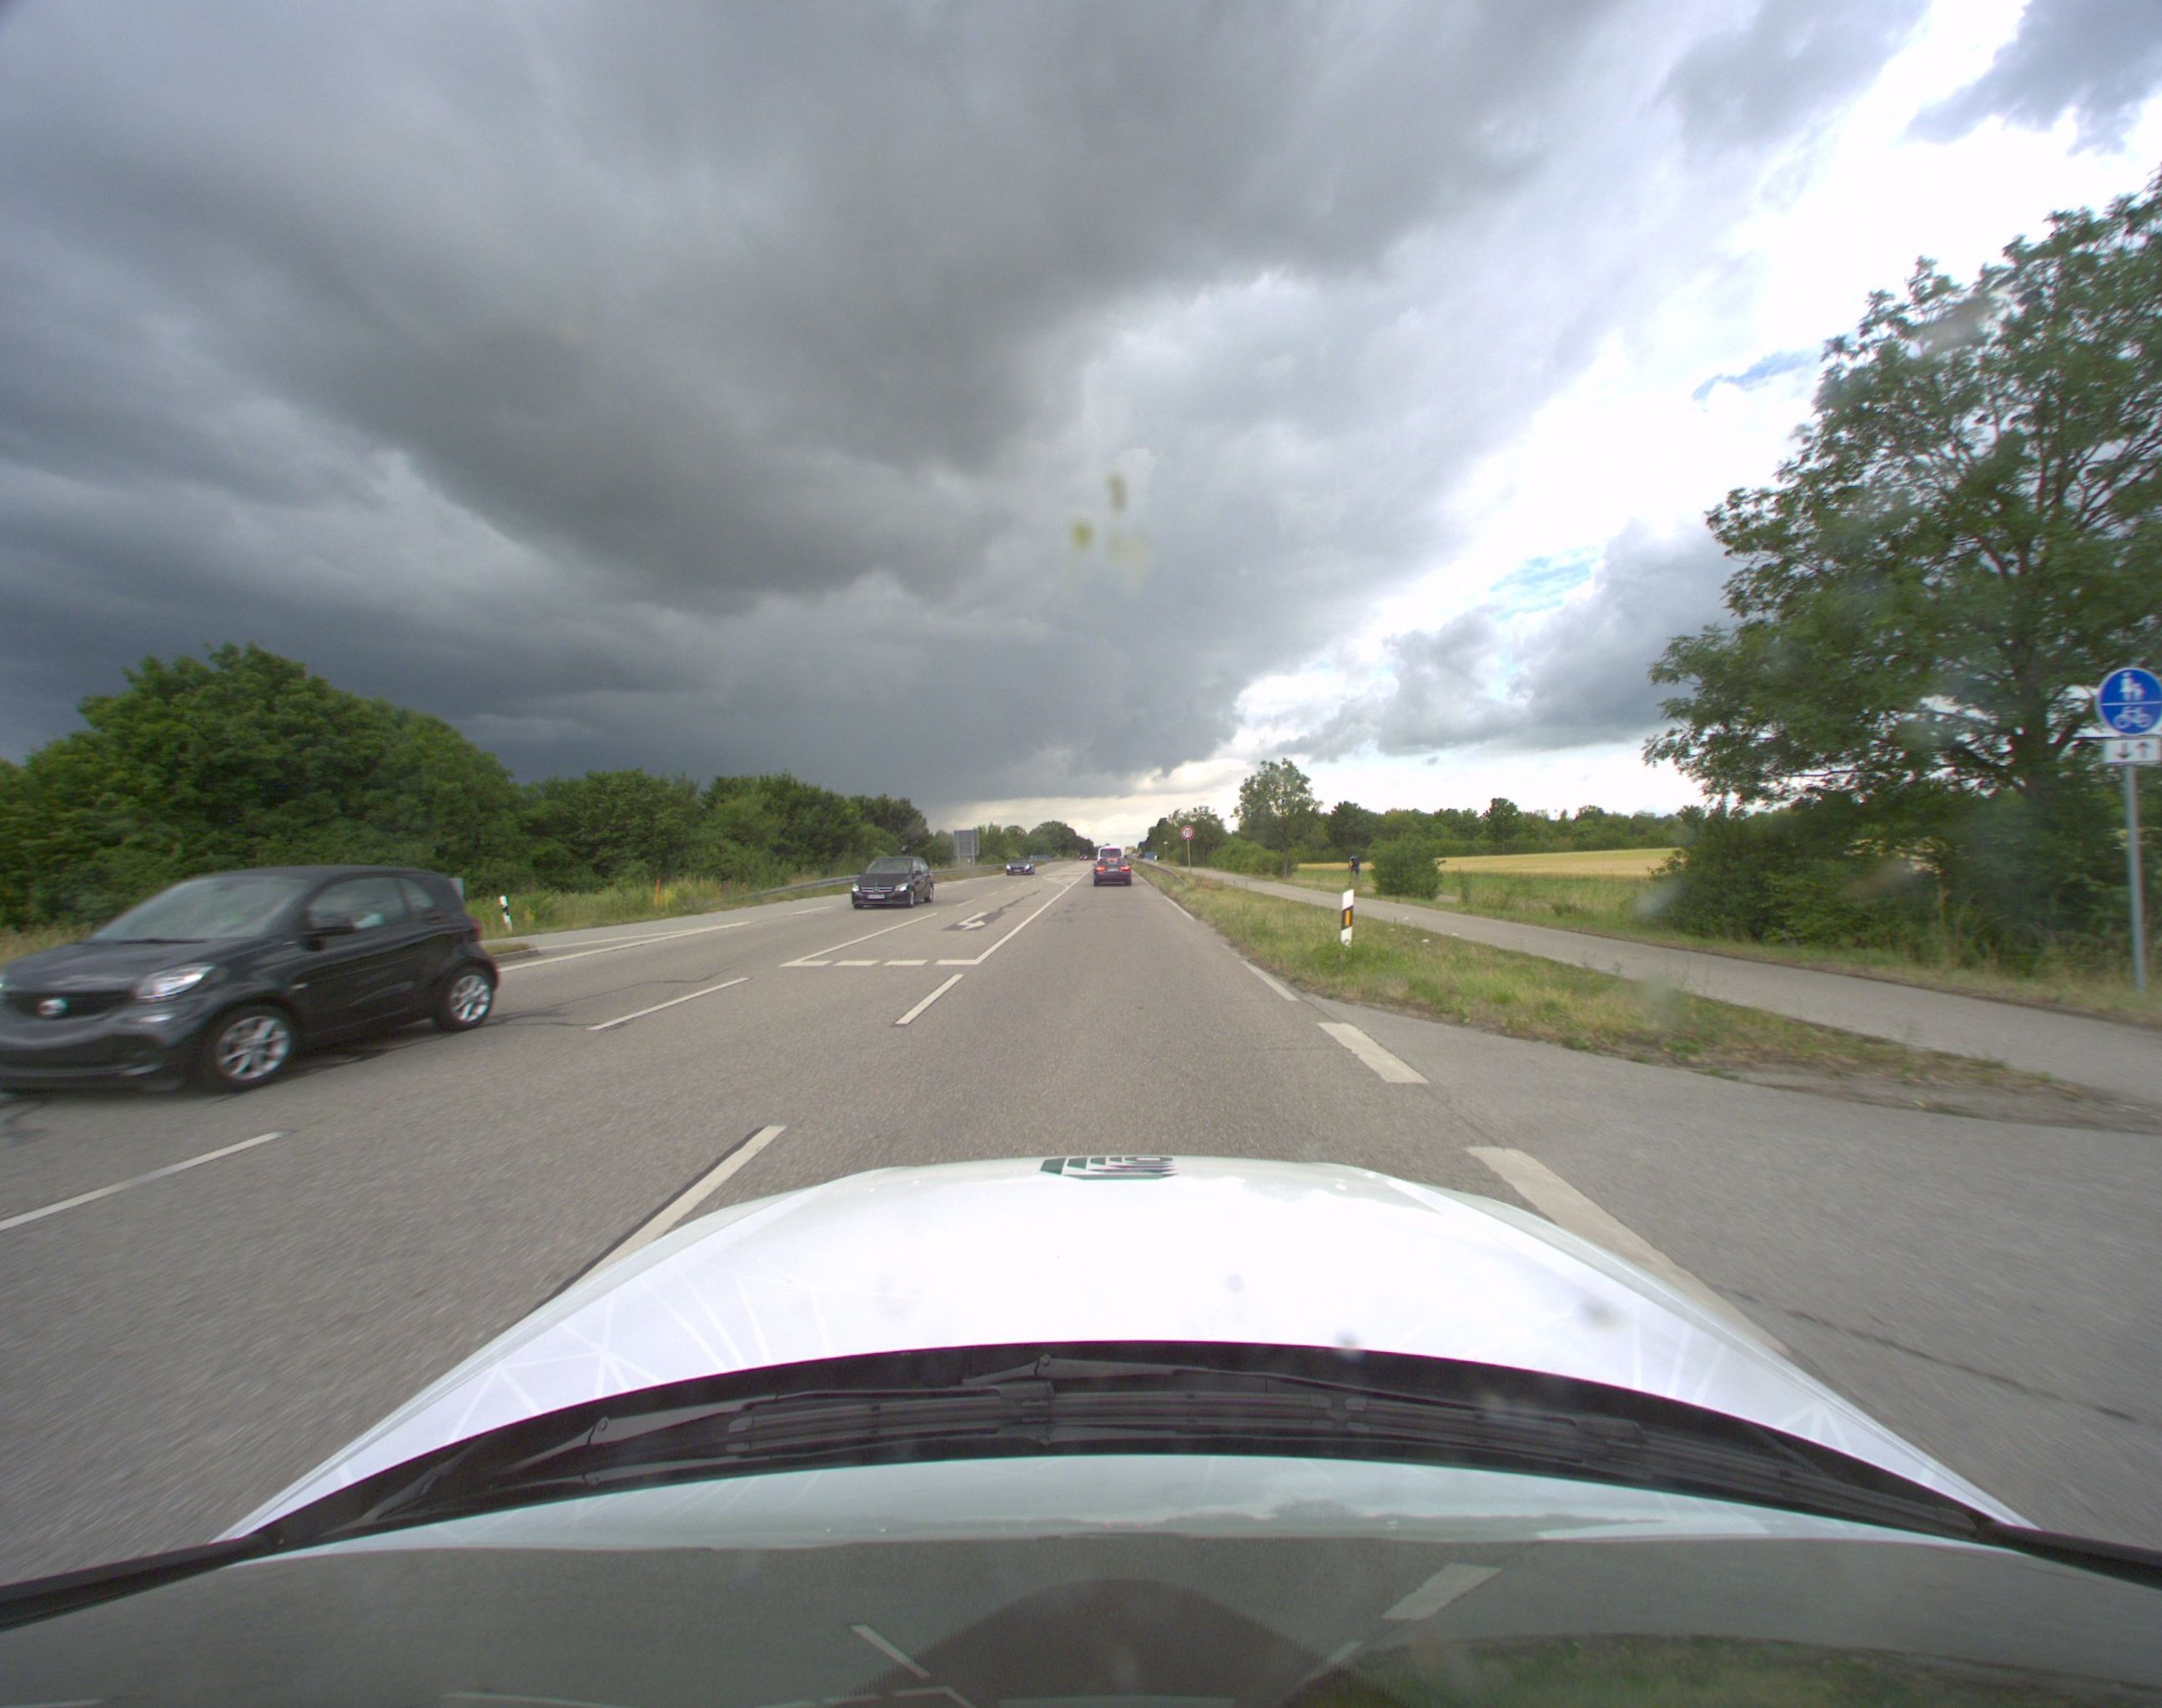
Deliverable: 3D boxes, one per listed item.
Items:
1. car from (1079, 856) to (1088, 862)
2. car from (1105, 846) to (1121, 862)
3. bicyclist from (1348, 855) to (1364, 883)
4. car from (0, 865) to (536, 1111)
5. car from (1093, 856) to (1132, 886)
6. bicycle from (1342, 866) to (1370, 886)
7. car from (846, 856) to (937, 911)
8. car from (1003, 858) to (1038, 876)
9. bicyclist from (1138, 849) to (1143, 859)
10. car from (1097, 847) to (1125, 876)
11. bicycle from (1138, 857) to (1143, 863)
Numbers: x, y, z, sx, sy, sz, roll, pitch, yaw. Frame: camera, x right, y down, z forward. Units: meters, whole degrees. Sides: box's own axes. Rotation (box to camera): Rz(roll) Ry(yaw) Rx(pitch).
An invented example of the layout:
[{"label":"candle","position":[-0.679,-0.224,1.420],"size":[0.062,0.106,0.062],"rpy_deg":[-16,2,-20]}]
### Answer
[{"label":"car","position":[0.665,1.153,192.960],"size":[1.854,1.376,4.003],"rpy_deg":[1,-1,3]},{"label":"car","position":[4.951,-0.024,125.326],"size":[2.437,2.504,5.045],"rpy_deg":[-1,0,3]},{"label":"bicyclist","position":[15.625,0.833,46.327],"size":[0.653,1.581,0.744],"rpy_deg":[-1,-1,1]},{"label":"car","position":[-6.413,0.867,6.685],"size":[1.655,1.484,3.169],"rpy_deg":[-1,0,1]},{"label":"car","position":[1.544,0.807,39.936],"size":[1.779,1.424,4.002],"rpy_deg":[-1,-1,2]},{"label":"bicycle","position":[15.628,1.238,46.351],"size":[0.653,1.138,2.831],"rpy_deg":[-1,-1,2]},{"label":"car","position":[-5.851,0.869,25.627],"size":[1.735,1.530,4.200],"rpy_deg":[-1,0,1]},{"label":"car","position":[-4.582,0.945,62.504],"size":[2.156,1.285,4.239],"rpy_deg":[-1,0,2]},{"label":"bicyclist","position":[9.618,-0.050,131.851],"size":[0.644,1.645,0.866],"rpy_deg":[-2,-1,2]},{"label":"car","position":[1.995,0.495,54.336],"size":[1.779,1.890,4.002],"rpy_deg":[-1,-1,2]},{"label":"bicycle","position":[9.633,0.927,131.768],"size":[0.663,0.920,1.831],"rpy_deg":[-2,0,2]}]
